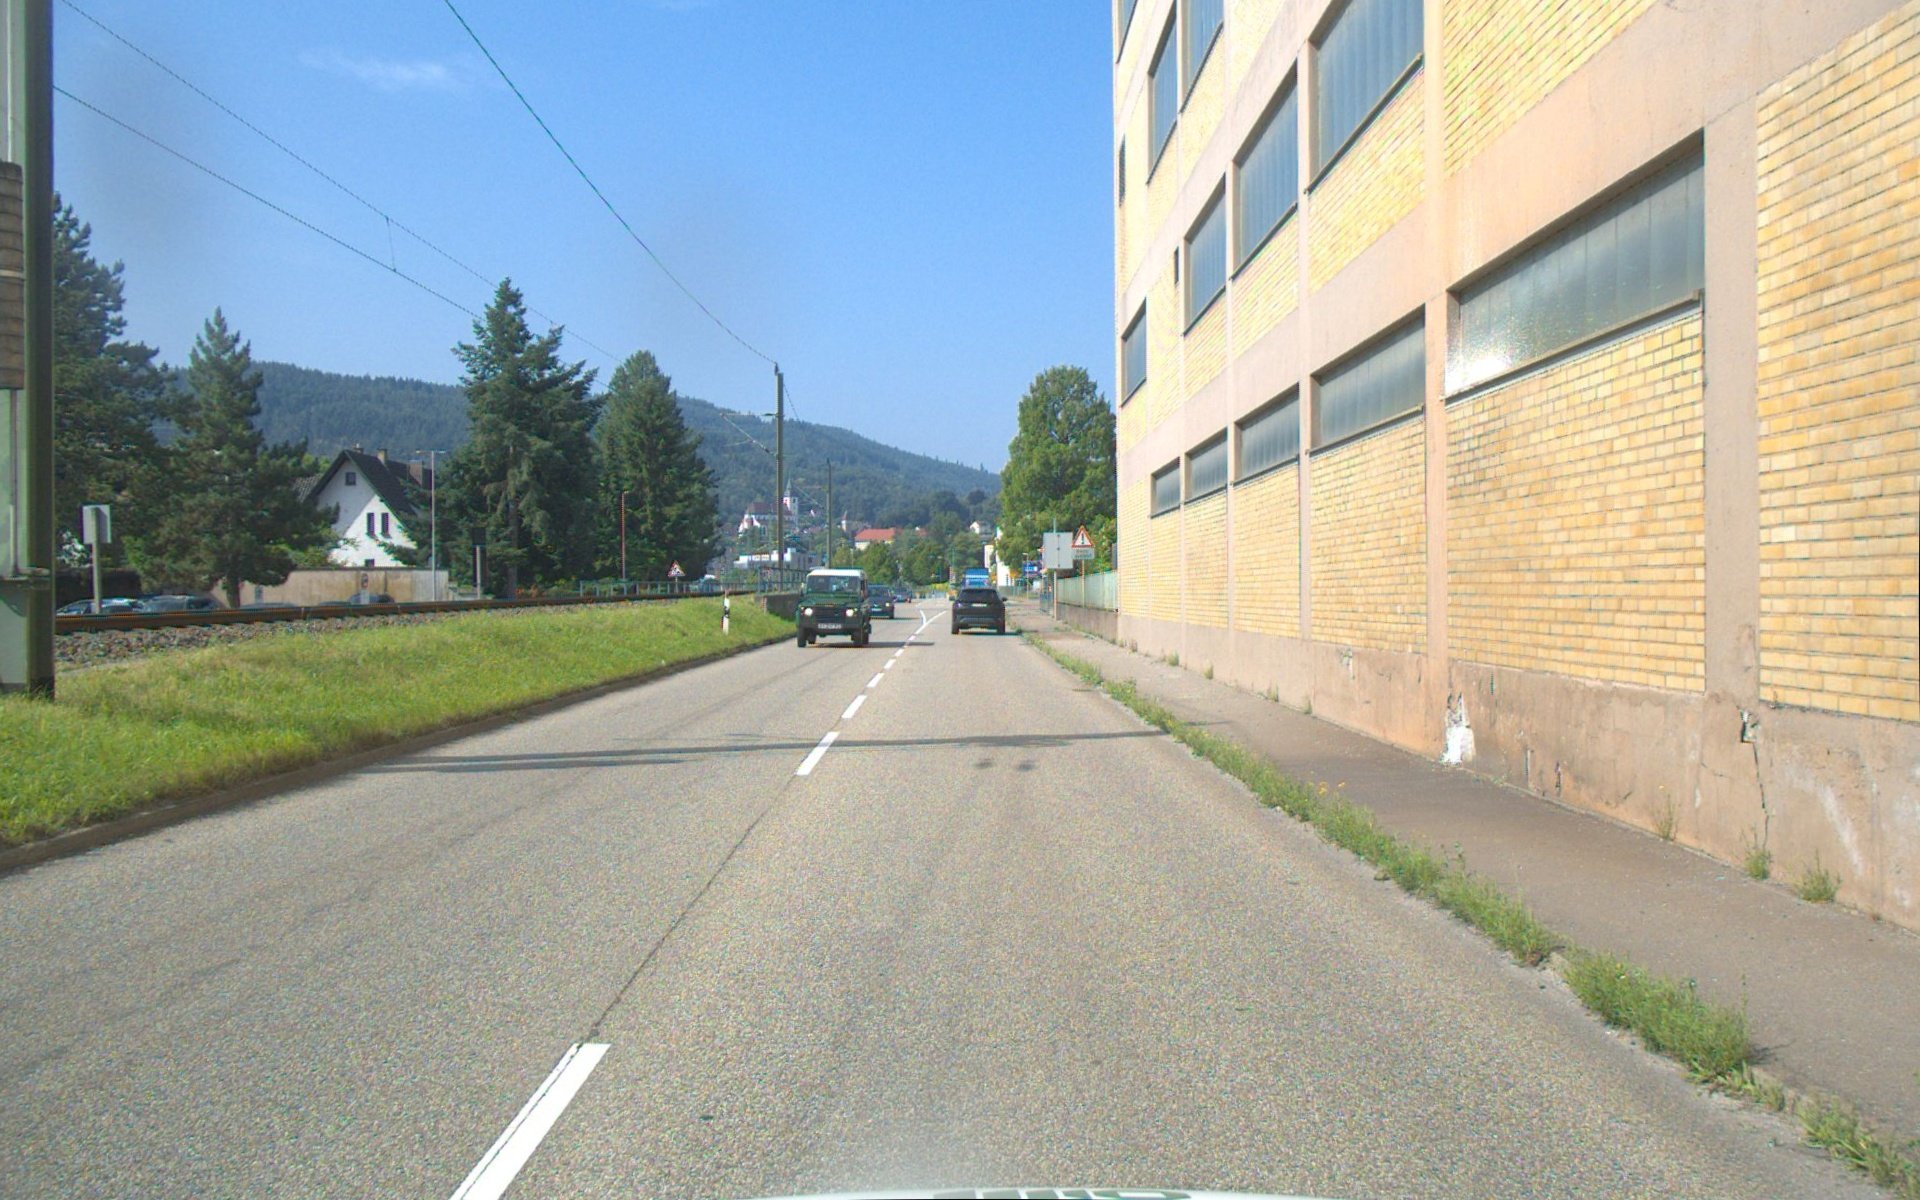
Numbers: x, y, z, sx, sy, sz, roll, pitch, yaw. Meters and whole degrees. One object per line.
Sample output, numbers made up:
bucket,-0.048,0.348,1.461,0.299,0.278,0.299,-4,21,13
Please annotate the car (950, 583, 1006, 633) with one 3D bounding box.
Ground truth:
car,0.620,0.247,57.309,1.880,1.668,4.000,0,0,0

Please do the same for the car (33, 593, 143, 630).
car,-38.799,0.508,73.657,3.913,1.563,1.814,0,0,-9

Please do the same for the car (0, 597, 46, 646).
car,-34.764,0.787,58.684,1.613,1.717,3.793,-1,0,35

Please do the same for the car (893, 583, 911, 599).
car,-5.503,-0.839,157.716,1.706,1.533,4.198,0,0,-2

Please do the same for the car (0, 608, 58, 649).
car,-33.196,0.983,56.909,1.428,1.348,3.523,-1,0,36

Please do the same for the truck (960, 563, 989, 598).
truck,1.277,-1.753,146.993,2.266,3.022,5.963,0,1,-2

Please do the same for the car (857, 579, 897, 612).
car,-3.963,-0.229,79.471,1.696,1.552,4.092,1,0,0

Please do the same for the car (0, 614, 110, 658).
car,-30.811,1.196,55.811,1.428,1.348,3.523,-1,0,36

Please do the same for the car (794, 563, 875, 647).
car,-3.325,0.103,44.637,1.722,2.114,4.808,1,0,1
